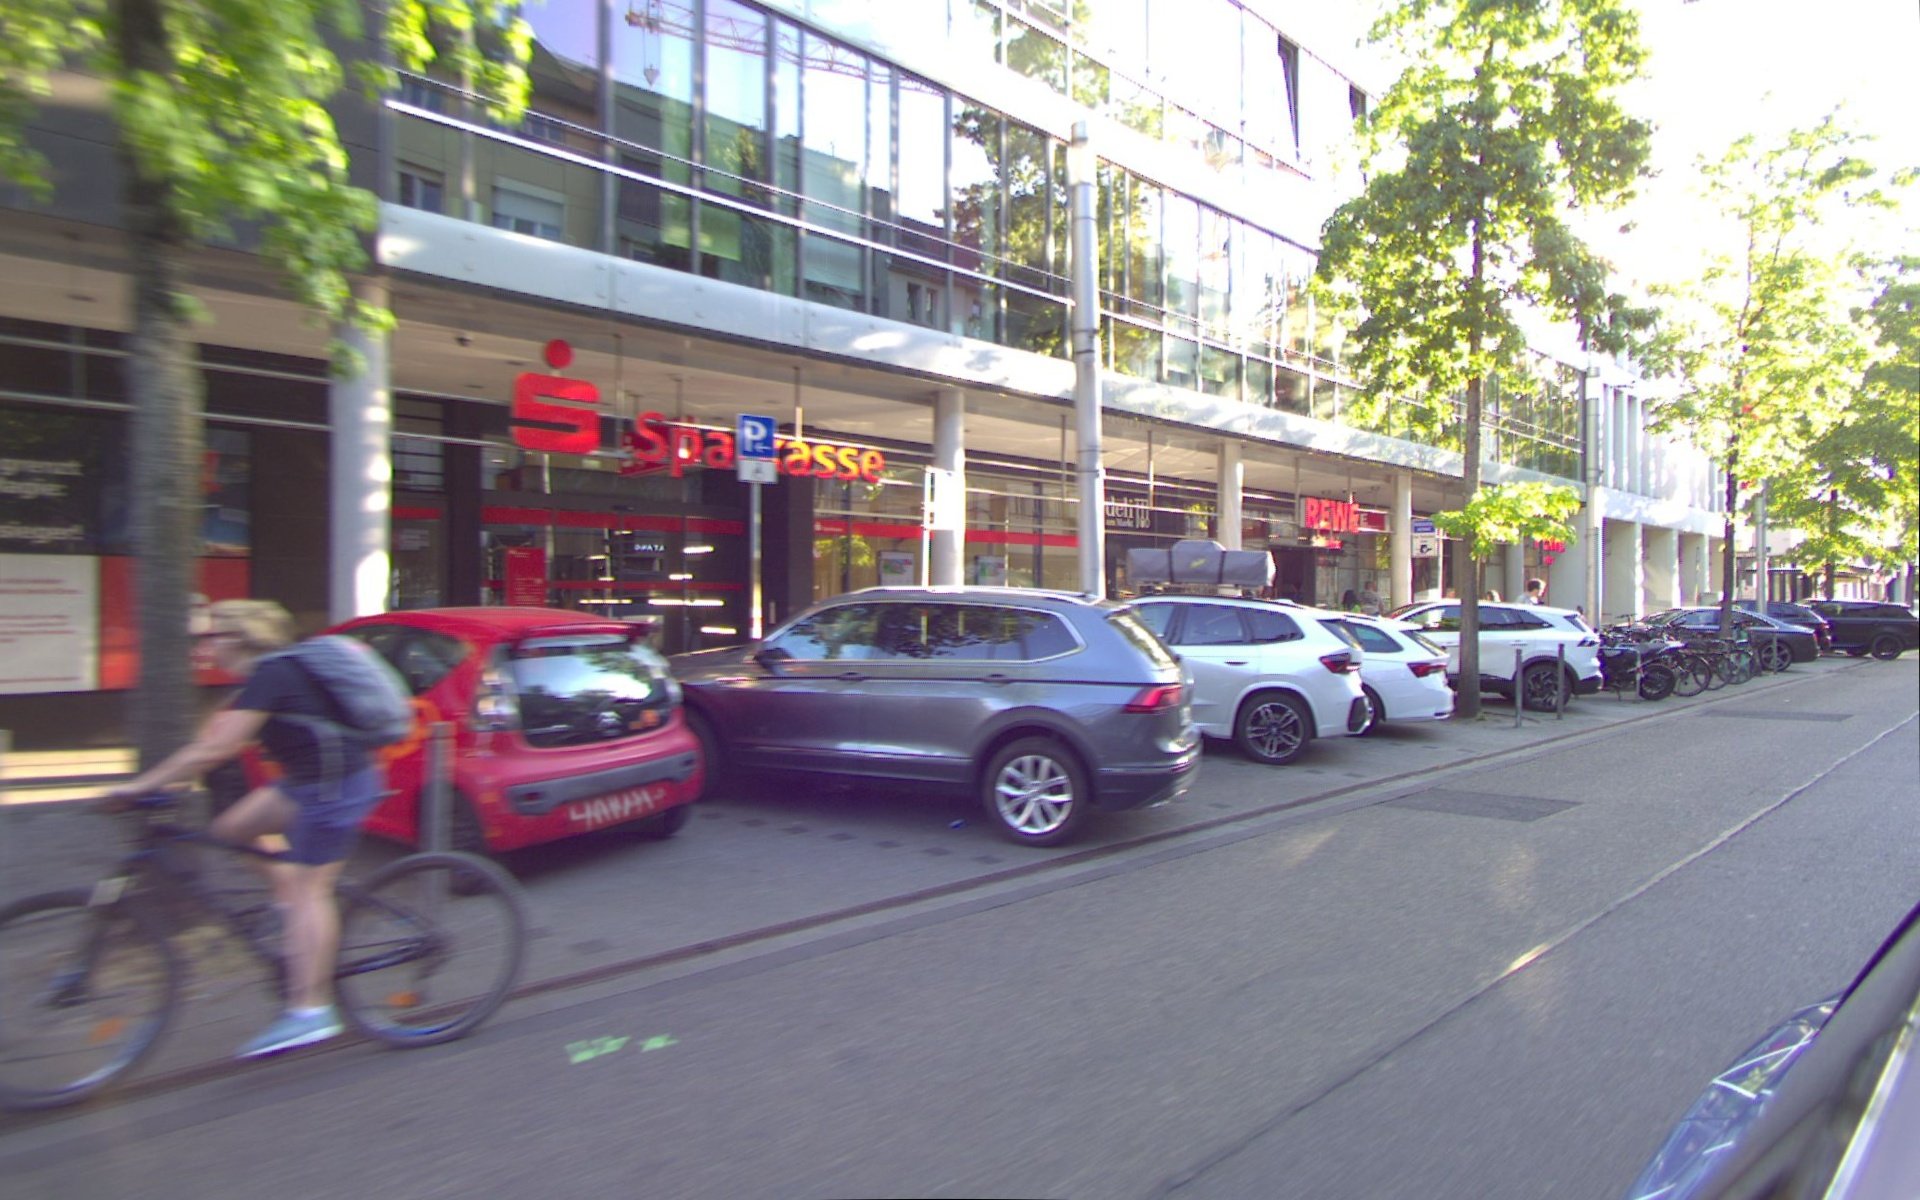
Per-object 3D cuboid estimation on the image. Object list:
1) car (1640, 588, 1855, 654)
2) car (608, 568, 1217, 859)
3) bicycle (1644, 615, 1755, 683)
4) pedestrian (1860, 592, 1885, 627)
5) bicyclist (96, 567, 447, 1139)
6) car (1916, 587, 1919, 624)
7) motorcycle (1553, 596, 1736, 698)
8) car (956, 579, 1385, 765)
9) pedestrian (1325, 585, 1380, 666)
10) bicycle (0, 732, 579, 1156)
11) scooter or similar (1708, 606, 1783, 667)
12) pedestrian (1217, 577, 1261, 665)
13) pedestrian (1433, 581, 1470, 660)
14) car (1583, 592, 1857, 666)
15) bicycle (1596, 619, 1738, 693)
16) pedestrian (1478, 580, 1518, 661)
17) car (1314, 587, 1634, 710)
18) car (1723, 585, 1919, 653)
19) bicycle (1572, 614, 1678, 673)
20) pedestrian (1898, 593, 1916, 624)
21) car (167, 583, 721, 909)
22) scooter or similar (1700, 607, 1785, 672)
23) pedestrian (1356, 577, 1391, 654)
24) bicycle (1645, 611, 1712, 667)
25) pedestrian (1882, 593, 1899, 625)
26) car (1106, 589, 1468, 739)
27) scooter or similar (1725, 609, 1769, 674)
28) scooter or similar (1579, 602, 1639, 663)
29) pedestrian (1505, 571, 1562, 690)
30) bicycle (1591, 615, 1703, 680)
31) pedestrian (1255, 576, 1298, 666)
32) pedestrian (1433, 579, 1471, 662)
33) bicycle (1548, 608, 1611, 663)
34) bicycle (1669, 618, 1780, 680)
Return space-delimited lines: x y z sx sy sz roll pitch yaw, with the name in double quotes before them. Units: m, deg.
"car" 23.104 0.567 29.952 4.620 1.675 1.991 2 2 26
"car" -0.333 0.655 7.692 4.300 1.672 1.685 2 2 19
"bicycle" 13.819 0.912 18.931 1.662 1.177 0.481 2 2 -1
"pedestrian" 50.115 0.503 55.588 0.901 1.921 0.836 0 1 -38
"bicyclist" -2.281 0.732 3.478 0.894 1.634 0.780 0 -2 -29
"car" 47.954 0.305 49.000 4.824 1.759 2.026 0 3 -43
"motorcycle" 11.124 0.739 16.520 2.279 1.528 0.858 2 2 6
"car" 2.246 0.645 11.040 4.194 1.607 1.873 2 2 19
"pedestrian" 8.176 0.513 21.102 0.866 1.644 0.715 0 1 -40
"bicycle" -2.403 1.050 3.399 2.017 1.008 0.721 0 -2 -30
"scooter or similar" 17.681 0.823 22.791 1.281 1.291 0.459 2 3 -3
"pedestrian" 5.701 0.411 20.673 0.589 1.765 0.625 0 1 -42
"pedestrian" 10.803 0.440 22.242 0.540 1.718 0.518 0 -1 -36
"car" 18.715 0.674 25.203 4.987 1.487 1.970 2 2 14
"bicycle" 12.268 0.952 17.636 1.874 1.133 0.663 2 2 21
"pedestrian" 11.618 0.433 21.845 0.677 1.718 0.543 -1 -1 37
"car" 7.788 0.662 15.796 4.103 1.591 1.845 2 1 17
"car" 26.576 0.540 31.030 4.610 1.785 1.981 2 2 21
"bicycle" 13.778 0.883 21.018 1.653 1.088 0.728 3 1 20
"pedestrian" 55.965 0.506 59.812 0.624 1.854 0.706 0 0 -41
"car" -3.386 0.695 6.558 3.370 1.499 1.650 3 2 30
"scooter or similar" 17.137 0.847 22.188 1.290 1.291 0.561 3 3 18
"pedestrian" 9.735 0.348 23.825 0.515 1.772 0.558 0 2 -40
"bicycle" 16.350 0.865 23.088 0.543 1.121 1.843 2 2 13
"pedestrian" 55.470 0.529 60.325 0.624 1.854 0.689 0 0 -41
"car" 4.106 0.690 12.880 4.118 1.518 1.674 2 2 26
"scooter or similar" 16.609 0.859 21.356 1.284 1.291 0.451 0 4 -42
"scooter or similar" 15.068 0.729 23.545 0.554 1.309 1.675 2 2 12
"pedestrian" 9.646 0.486 17.026 0.651 1.942 0.584 0 2 -39
"bicycle" 13.400 0.912 19.795 1.676 1.119 0.627 3 2 24
"pedestrian" 6.385 0.405 20.422 0.624 1.765 0.590 1 1 44
"pedestrian" 10.784 0.444 22.193 0.549 1.772 0.524 0 2 -39
"bicycle" 14.419 0.806 23.615 0.617 1.144 1.882 2 2 12
"bicycle" 15.390 0.965 20.426 1.544 1.102 0.864 3 1 20
